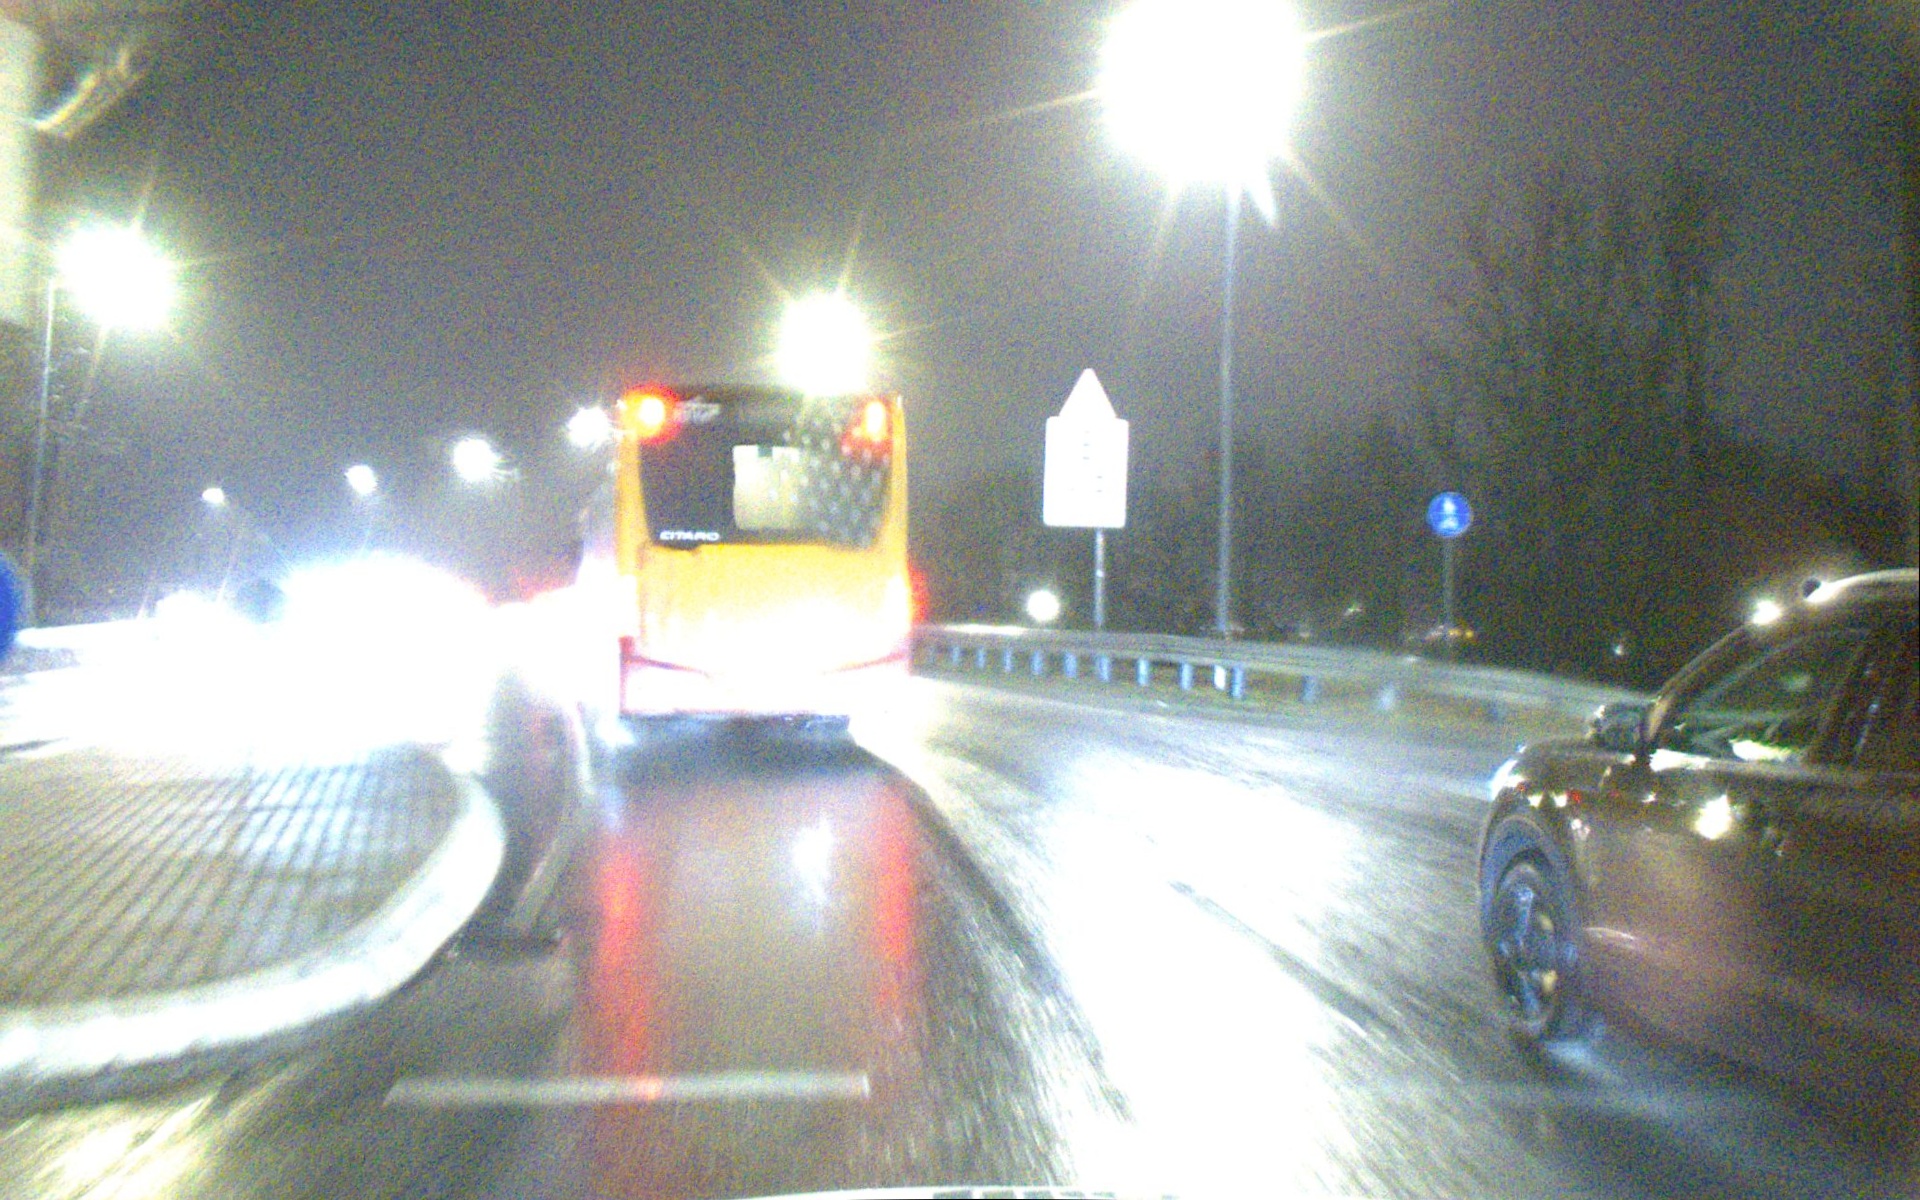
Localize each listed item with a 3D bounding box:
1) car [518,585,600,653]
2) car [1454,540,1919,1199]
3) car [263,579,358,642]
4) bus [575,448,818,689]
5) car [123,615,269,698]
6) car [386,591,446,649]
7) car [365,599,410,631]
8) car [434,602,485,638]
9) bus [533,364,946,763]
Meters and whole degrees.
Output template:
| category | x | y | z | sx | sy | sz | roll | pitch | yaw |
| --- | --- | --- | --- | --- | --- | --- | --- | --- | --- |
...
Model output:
| category | x | y | z | sx | sy | sz | roll | pitch | yaw |
| --- | --- | --- | --- | --- | --- | --- | --- | --- | --- |
| car | -13.082 | 0.631 | 53.741 | 1.965 | 2.049 | 4.320 | 2 | -1 | -22 |
| car | 2.857 | 0.679 | 4.324 | 1.644 | 1.548 | 3.956 | 2 | -1 | -5 |
| car | -17.924 | 0.260 | 45.826 | 1.849 | 1.635 | 4.643 | 1 | 1 | -14 |
| bus | -4.466 | -0.488 | 26.883 | 3.190 | 3.175 | 8.620 | 2 | 1 | -12 |
| car | -14.993 | 1.081 | 32.680 | 1.793 | 1.474 | 4.641 | 2 | -1 | -15 |
| car | -20.231 | 0.757 | 61.411 | 1.964 | 2.049 | 4.323 | 2 | -1 | -20 |
| car | -31.892 | 0.837 | 92.079 | 1.794 | 1.646 | 3.965 | 2 | -1 | -27 |
| car | -24.261 | 0.963 | 80.086 | 1.792 | 1.646 | 3.969 | 2 | -1 | -24 |
| bus | -2.665 | -0.510 | 17.866 | 3.227 | 3.102 | 9.519 | 1 | 3 | -12 |
